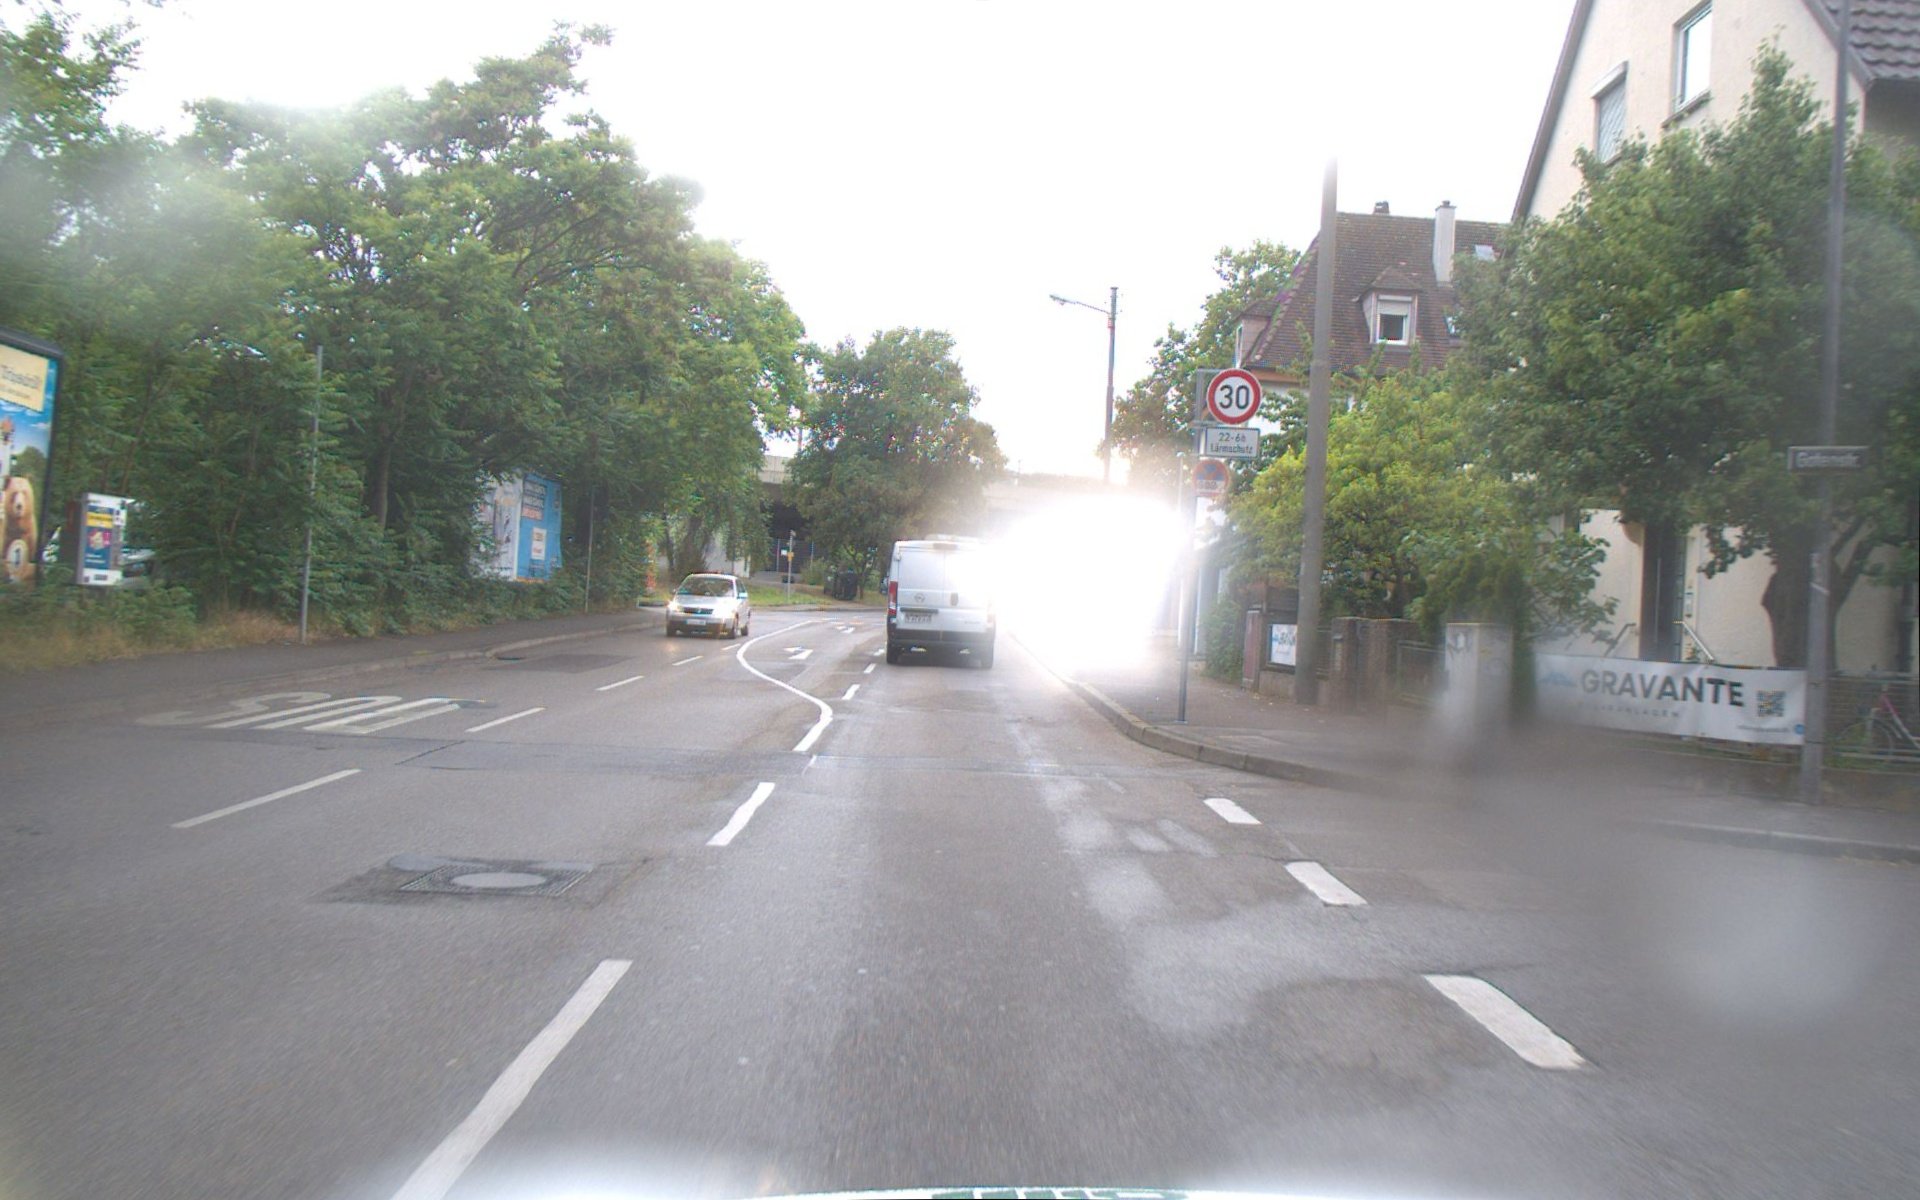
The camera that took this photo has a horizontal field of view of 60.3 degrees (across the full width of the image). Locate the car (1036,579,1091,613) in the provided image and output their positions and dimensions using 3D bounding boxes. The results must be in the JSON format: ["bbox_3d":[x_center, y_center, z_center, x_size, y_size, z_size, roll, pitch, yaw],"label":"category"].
[{"bbox_3d":[5.095,-0.183,80.909,1.729,1.537,3.756,4,1,18],"label":"car"}]

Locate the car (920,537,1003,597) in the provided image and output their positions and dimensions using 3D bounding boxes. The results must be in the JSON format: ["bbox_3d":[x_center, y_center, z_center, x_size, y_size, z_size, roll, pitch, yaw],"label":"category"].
[{"bbox_3d":[0.148,-1.838,94.874,2.481,3.070,7.213,4,1,18],"label":"car"}]

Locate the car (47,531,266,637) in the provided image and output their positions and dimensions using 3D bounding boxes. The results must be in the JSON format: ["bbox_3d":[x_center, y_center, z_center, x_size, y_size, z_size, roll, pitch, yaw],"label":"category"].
[{"bbox_3d":[-13.281,-0.260,27.619,1.668,1.520,3.999,4,0,-1],"label":"car"}]

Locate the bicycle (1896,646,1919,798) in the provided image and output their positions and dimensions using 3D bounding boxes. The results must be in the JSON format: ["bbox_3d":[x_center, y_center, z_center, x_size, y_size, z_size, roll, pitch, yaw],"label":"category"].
[{"bbox_3d":[8.025,0.947,12.545,1.538,1.134,0.457,2,1,3],"label":"bicycle"}]

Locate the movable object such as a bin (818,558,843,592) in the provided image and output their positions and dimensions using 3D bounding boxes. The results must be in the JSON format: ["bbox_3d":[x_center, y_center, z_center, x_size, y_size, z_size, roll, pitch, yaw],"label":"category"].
[{"bbox_3d":[-6.602,-1.278,84.383,0.921,1.589,1.131,8,1,4],"label":"movable object such as a bin"}]

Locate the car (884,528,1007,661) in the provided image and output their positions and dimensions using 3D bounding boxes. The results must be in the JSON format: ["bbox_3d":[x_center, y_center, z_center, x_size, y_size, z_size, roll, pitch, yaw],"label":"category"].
[{"bbox_3d":[-0.373,-0.124,32.005,2.104,2.323,5.060,2,0,-3],"label":"car"}]

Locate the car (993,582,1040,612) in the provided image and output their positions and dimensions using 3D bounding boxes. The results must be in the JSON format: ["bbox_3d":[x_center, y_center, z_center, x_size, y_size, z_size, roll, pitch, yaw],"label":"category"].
[{"bbox_3d":[3.206,-0.140,92.670,1.951,1.482,4.833,3,0,9],"label":"car"}]

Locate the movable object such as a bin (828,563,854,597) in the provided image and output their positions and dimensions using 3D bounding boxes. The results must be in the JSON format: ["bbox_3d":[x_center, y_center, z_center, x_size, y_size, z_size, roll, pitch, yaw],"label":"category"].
[{"bbox_3d":[-5.958,-0.997,82.993,0.921,1.589,1.131,8,1,4],"label":"movable object such as a bin"}]

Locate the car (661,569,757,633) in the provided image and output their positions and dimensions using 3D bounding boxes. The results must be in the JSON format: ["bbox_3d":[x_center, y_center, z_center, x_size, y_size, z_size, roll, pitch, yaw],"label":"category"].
[{"bbox_3d":[-5.940,-0.014,39.524,1.620,1.441,3.936,1,1,1],"label":"car"}]
